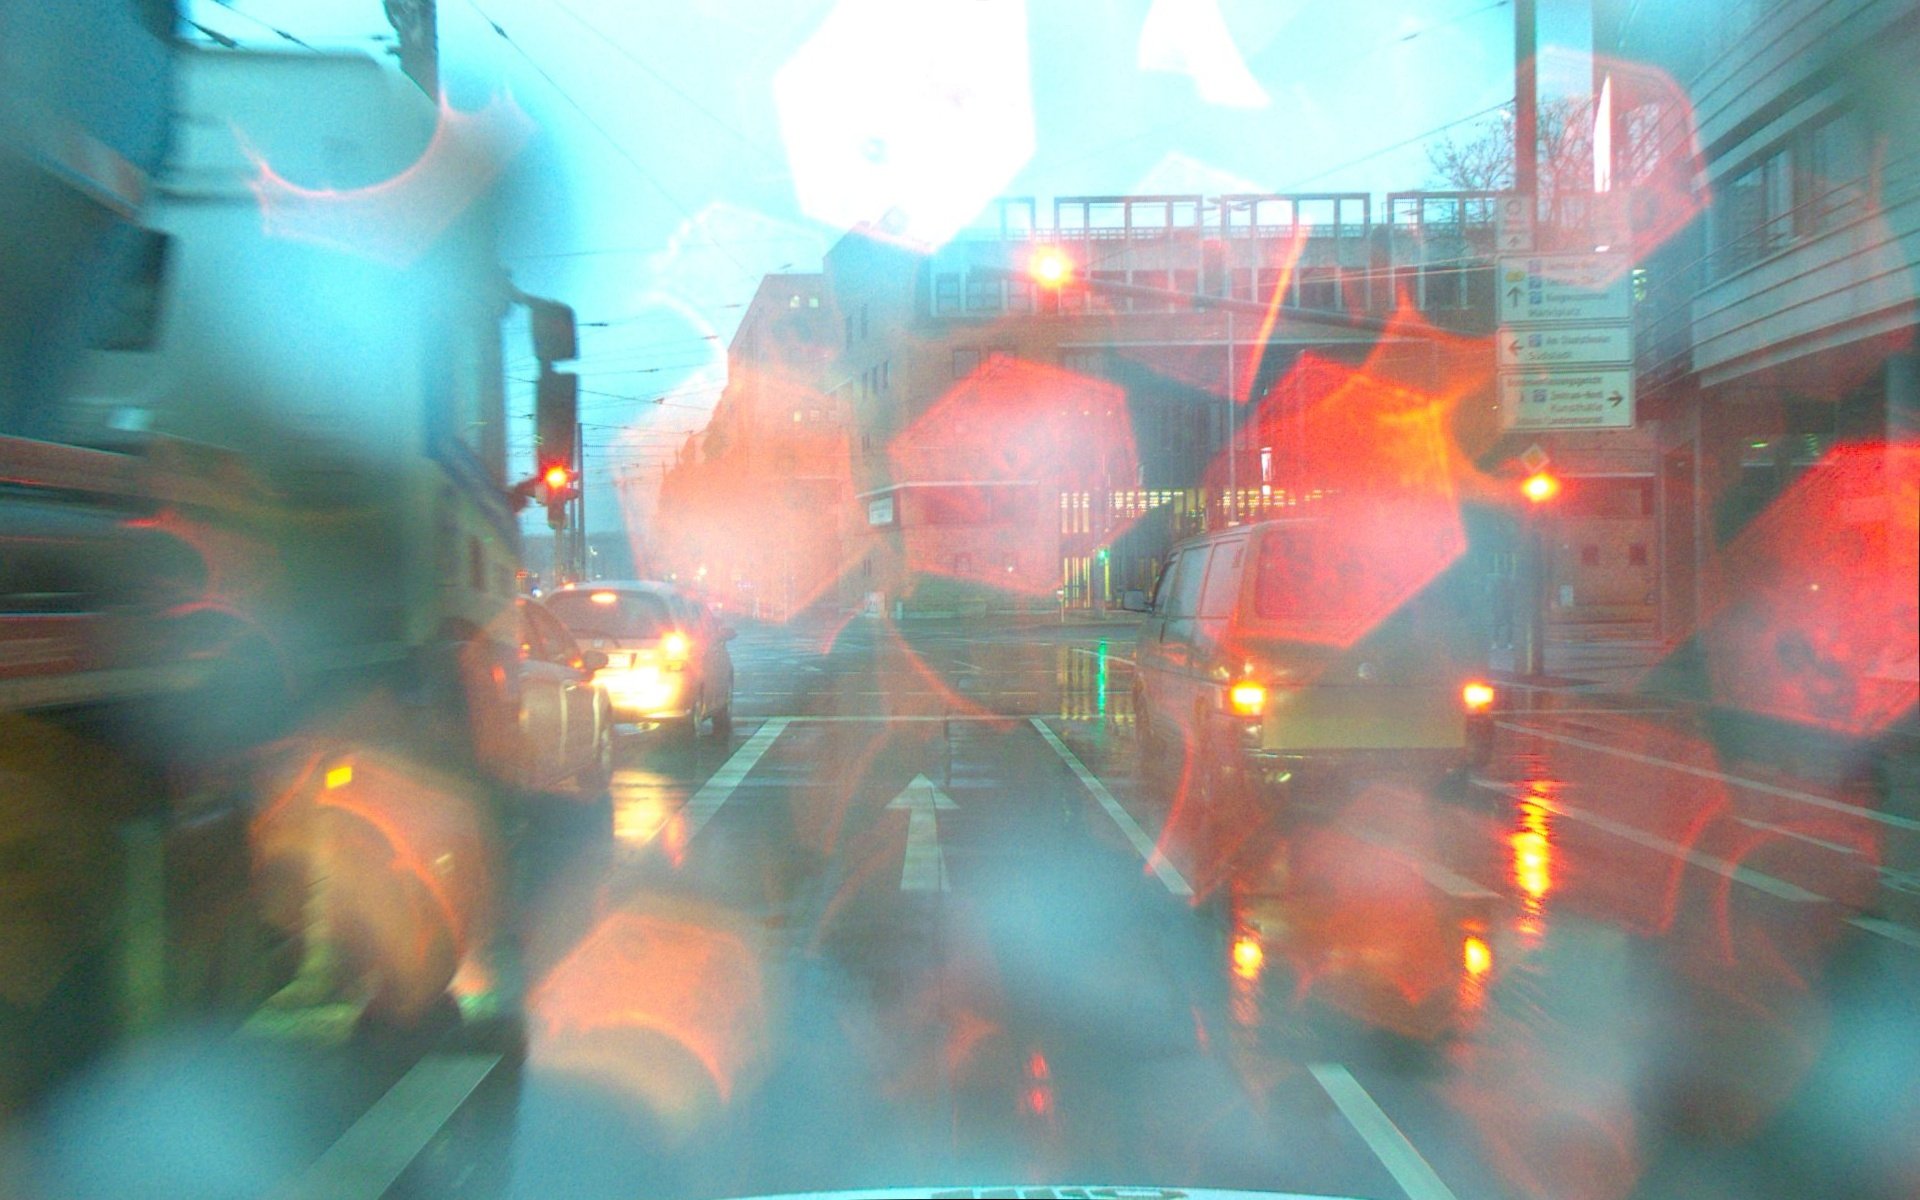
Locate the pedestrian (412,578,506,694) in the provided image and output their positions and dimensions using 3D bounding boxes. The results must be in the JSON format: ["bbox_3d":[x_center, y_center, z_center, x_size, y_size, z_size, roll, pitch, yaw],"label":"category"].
[{"bbox_3d":[-7.289,0.513,24.083,0.702,1.629,1.032,-3,0,39],"label":"pedestrian"}]

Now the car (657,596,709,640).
[{"bbox_3d":[-10.880,0.685,64.830,1.838,1.606,3.988,2,0,-12],"label":"car"}]

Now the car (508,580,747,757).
[{"bbox_3d":[-3.100,0.576,16.122,1.663,1.485,3.756,-1,0,-2],"label":"car"}]

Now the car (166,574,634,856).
[{"bbox_3d":[-3.382,0.621,10.831,1.670,1.473,4.000,1,0,0],"label":"car"}]

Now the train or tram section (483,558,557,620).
[{"bbox_3d":[-28.525,-0.695,108.311,3.135,3.496,27.747,-1,0,-12],"label":"train or tram section"}]

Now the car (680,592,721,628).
[{"bbox_3d":[-12.727,0.468,80.969,1.837,1.606,3.990,2,0,-10],"label":"car"}]

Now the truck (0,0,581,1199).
[{"bbox_3d":[-2.943,-0.417,3.766,2.783,3.696,7.522,-1,0,-3],"label":"truck"}]

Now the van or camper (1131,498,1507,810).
[{"bbox_3d":[2.484,0.319,12.583,1.721,1.940,4.416,1,0,-2],"label":"van or camper"}]
